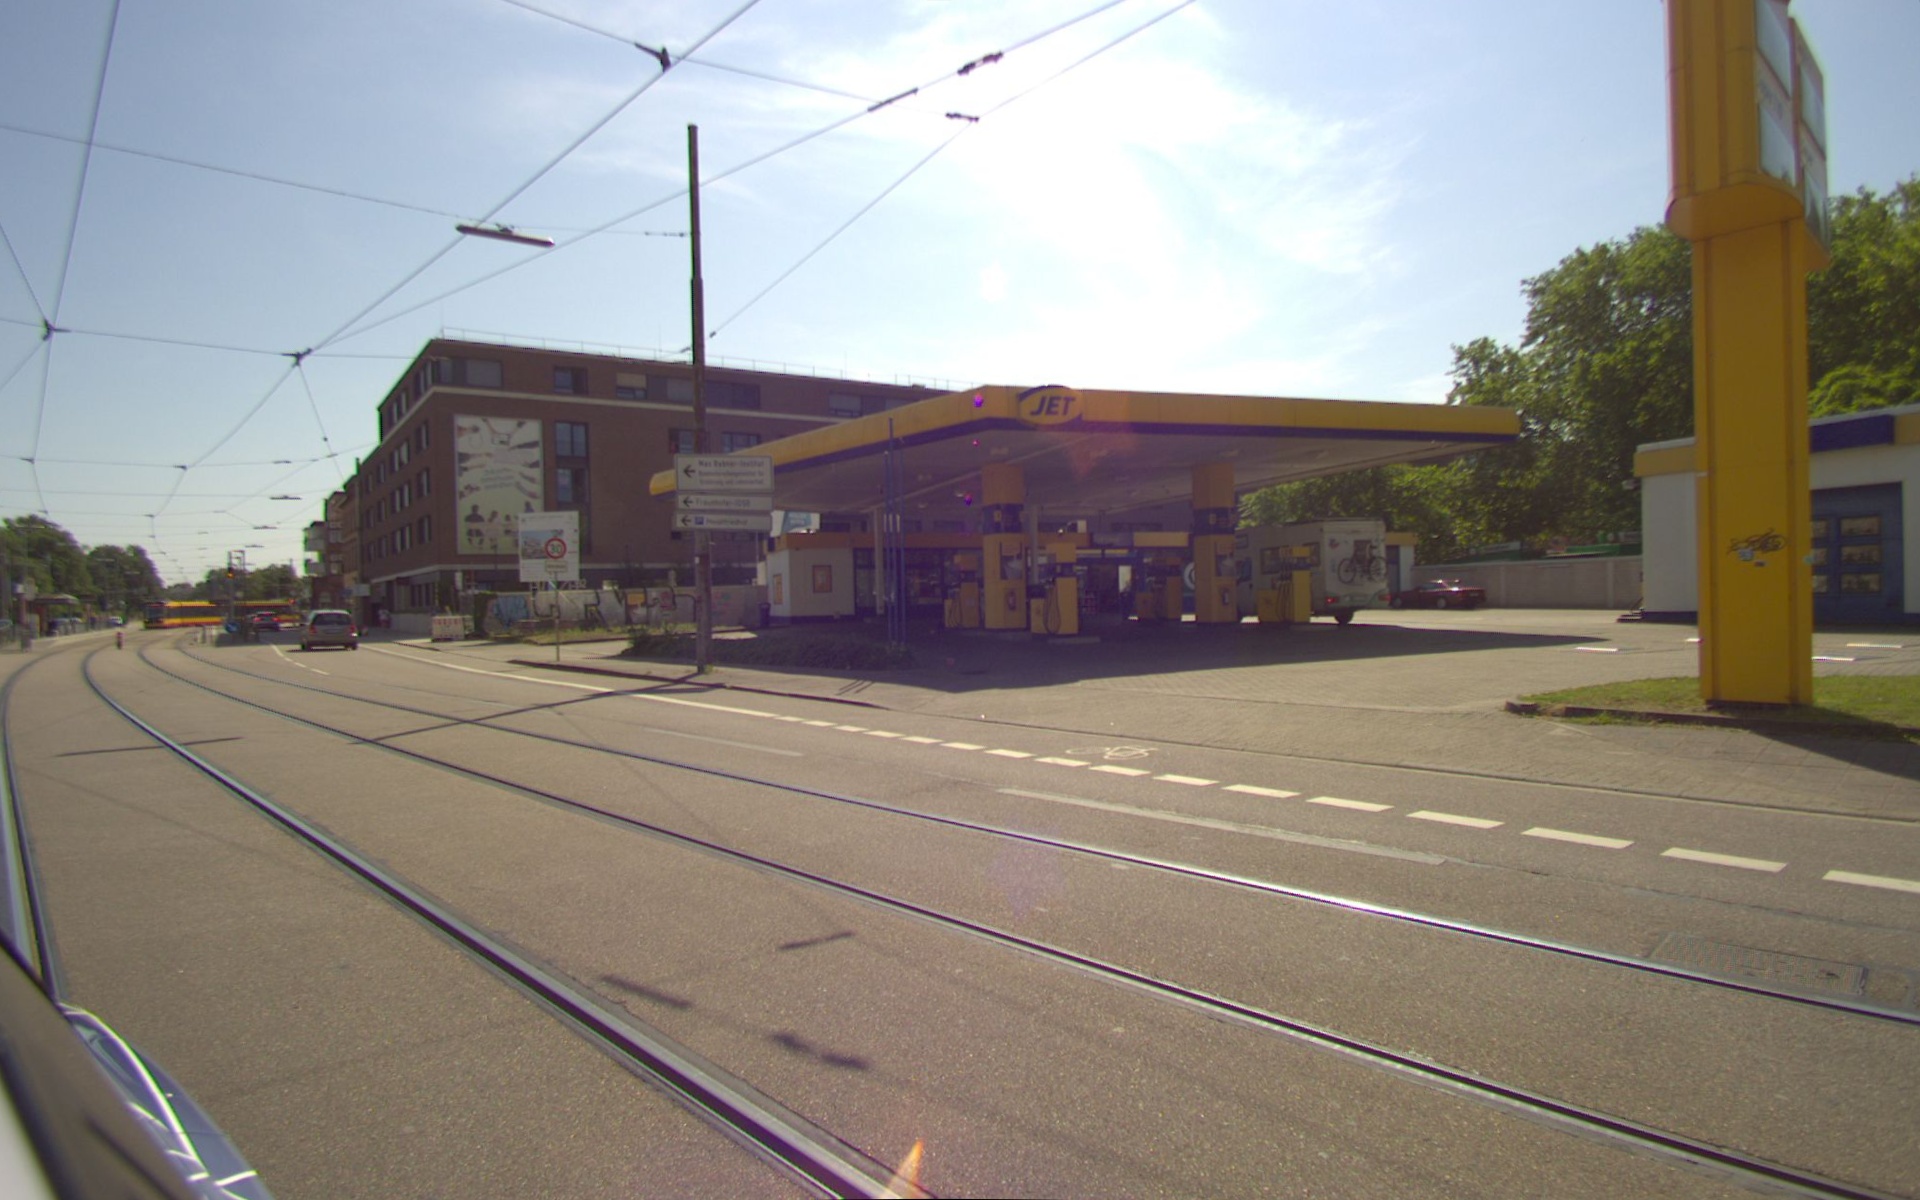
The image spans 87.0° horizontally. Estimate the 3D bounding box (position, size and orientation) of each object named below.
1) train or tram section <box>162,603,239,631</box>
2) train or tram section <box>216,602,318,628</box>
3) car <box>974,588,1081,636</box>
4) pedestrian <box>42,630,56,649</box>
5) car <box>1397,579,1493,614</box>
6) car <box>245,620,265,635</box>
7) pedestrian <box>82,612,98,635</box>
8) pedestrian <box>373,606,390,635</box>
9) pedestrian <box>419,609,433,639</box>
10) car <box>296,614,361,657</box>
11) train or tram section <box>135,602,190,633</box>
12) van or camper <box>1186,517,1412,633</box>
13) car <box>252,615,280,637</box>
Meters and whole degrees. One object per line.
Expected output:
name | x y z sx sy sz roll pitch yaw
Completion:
train or tram section | -102.452 2.176 136.808 2.644 3.506 13.369 -2 0 -11
train or tram section | -101.616 2.094 148.782 2.669 3.506 13.246 -2 0 21
car | 2.029 0.346 31.741 1.673 1.313 4.404 -4 1 -20
pedestrian | -62.931 2.710 69.915 0.621 1.264 0.711 -1 -1 -38
car | 21.595 -0.154 45.195 1.711 1.470 3.574 -2 0 -24
car | -74.248 2.920 106.512 1.604 1.480 3.874 -2 -1 -36
pedestrian | -75.126 2.031 87.414 0.968 1.872 1.240 -1 -1 -37
pedestrian | -38.133 1.362 66.657 0.833 1.832 0.840 -2 0 -37
pedestrian | -30.645 1.390 58.114 0.573 1.677 0.701 -1 0 -38
car | -24.881 1.357 39.832 1.724 1.583 3.899 0 0 -39
train or tram section | -98.147 2.130 124.779 2.642 3.506 13.381 -2 0 -27
van or camper | 9.953 -0.751 30.611 2.572 2.989 6.735 -5 2 -22
car | -59.793 2.217 87.112 1.777 1.741 4.198 -4 1 -36
